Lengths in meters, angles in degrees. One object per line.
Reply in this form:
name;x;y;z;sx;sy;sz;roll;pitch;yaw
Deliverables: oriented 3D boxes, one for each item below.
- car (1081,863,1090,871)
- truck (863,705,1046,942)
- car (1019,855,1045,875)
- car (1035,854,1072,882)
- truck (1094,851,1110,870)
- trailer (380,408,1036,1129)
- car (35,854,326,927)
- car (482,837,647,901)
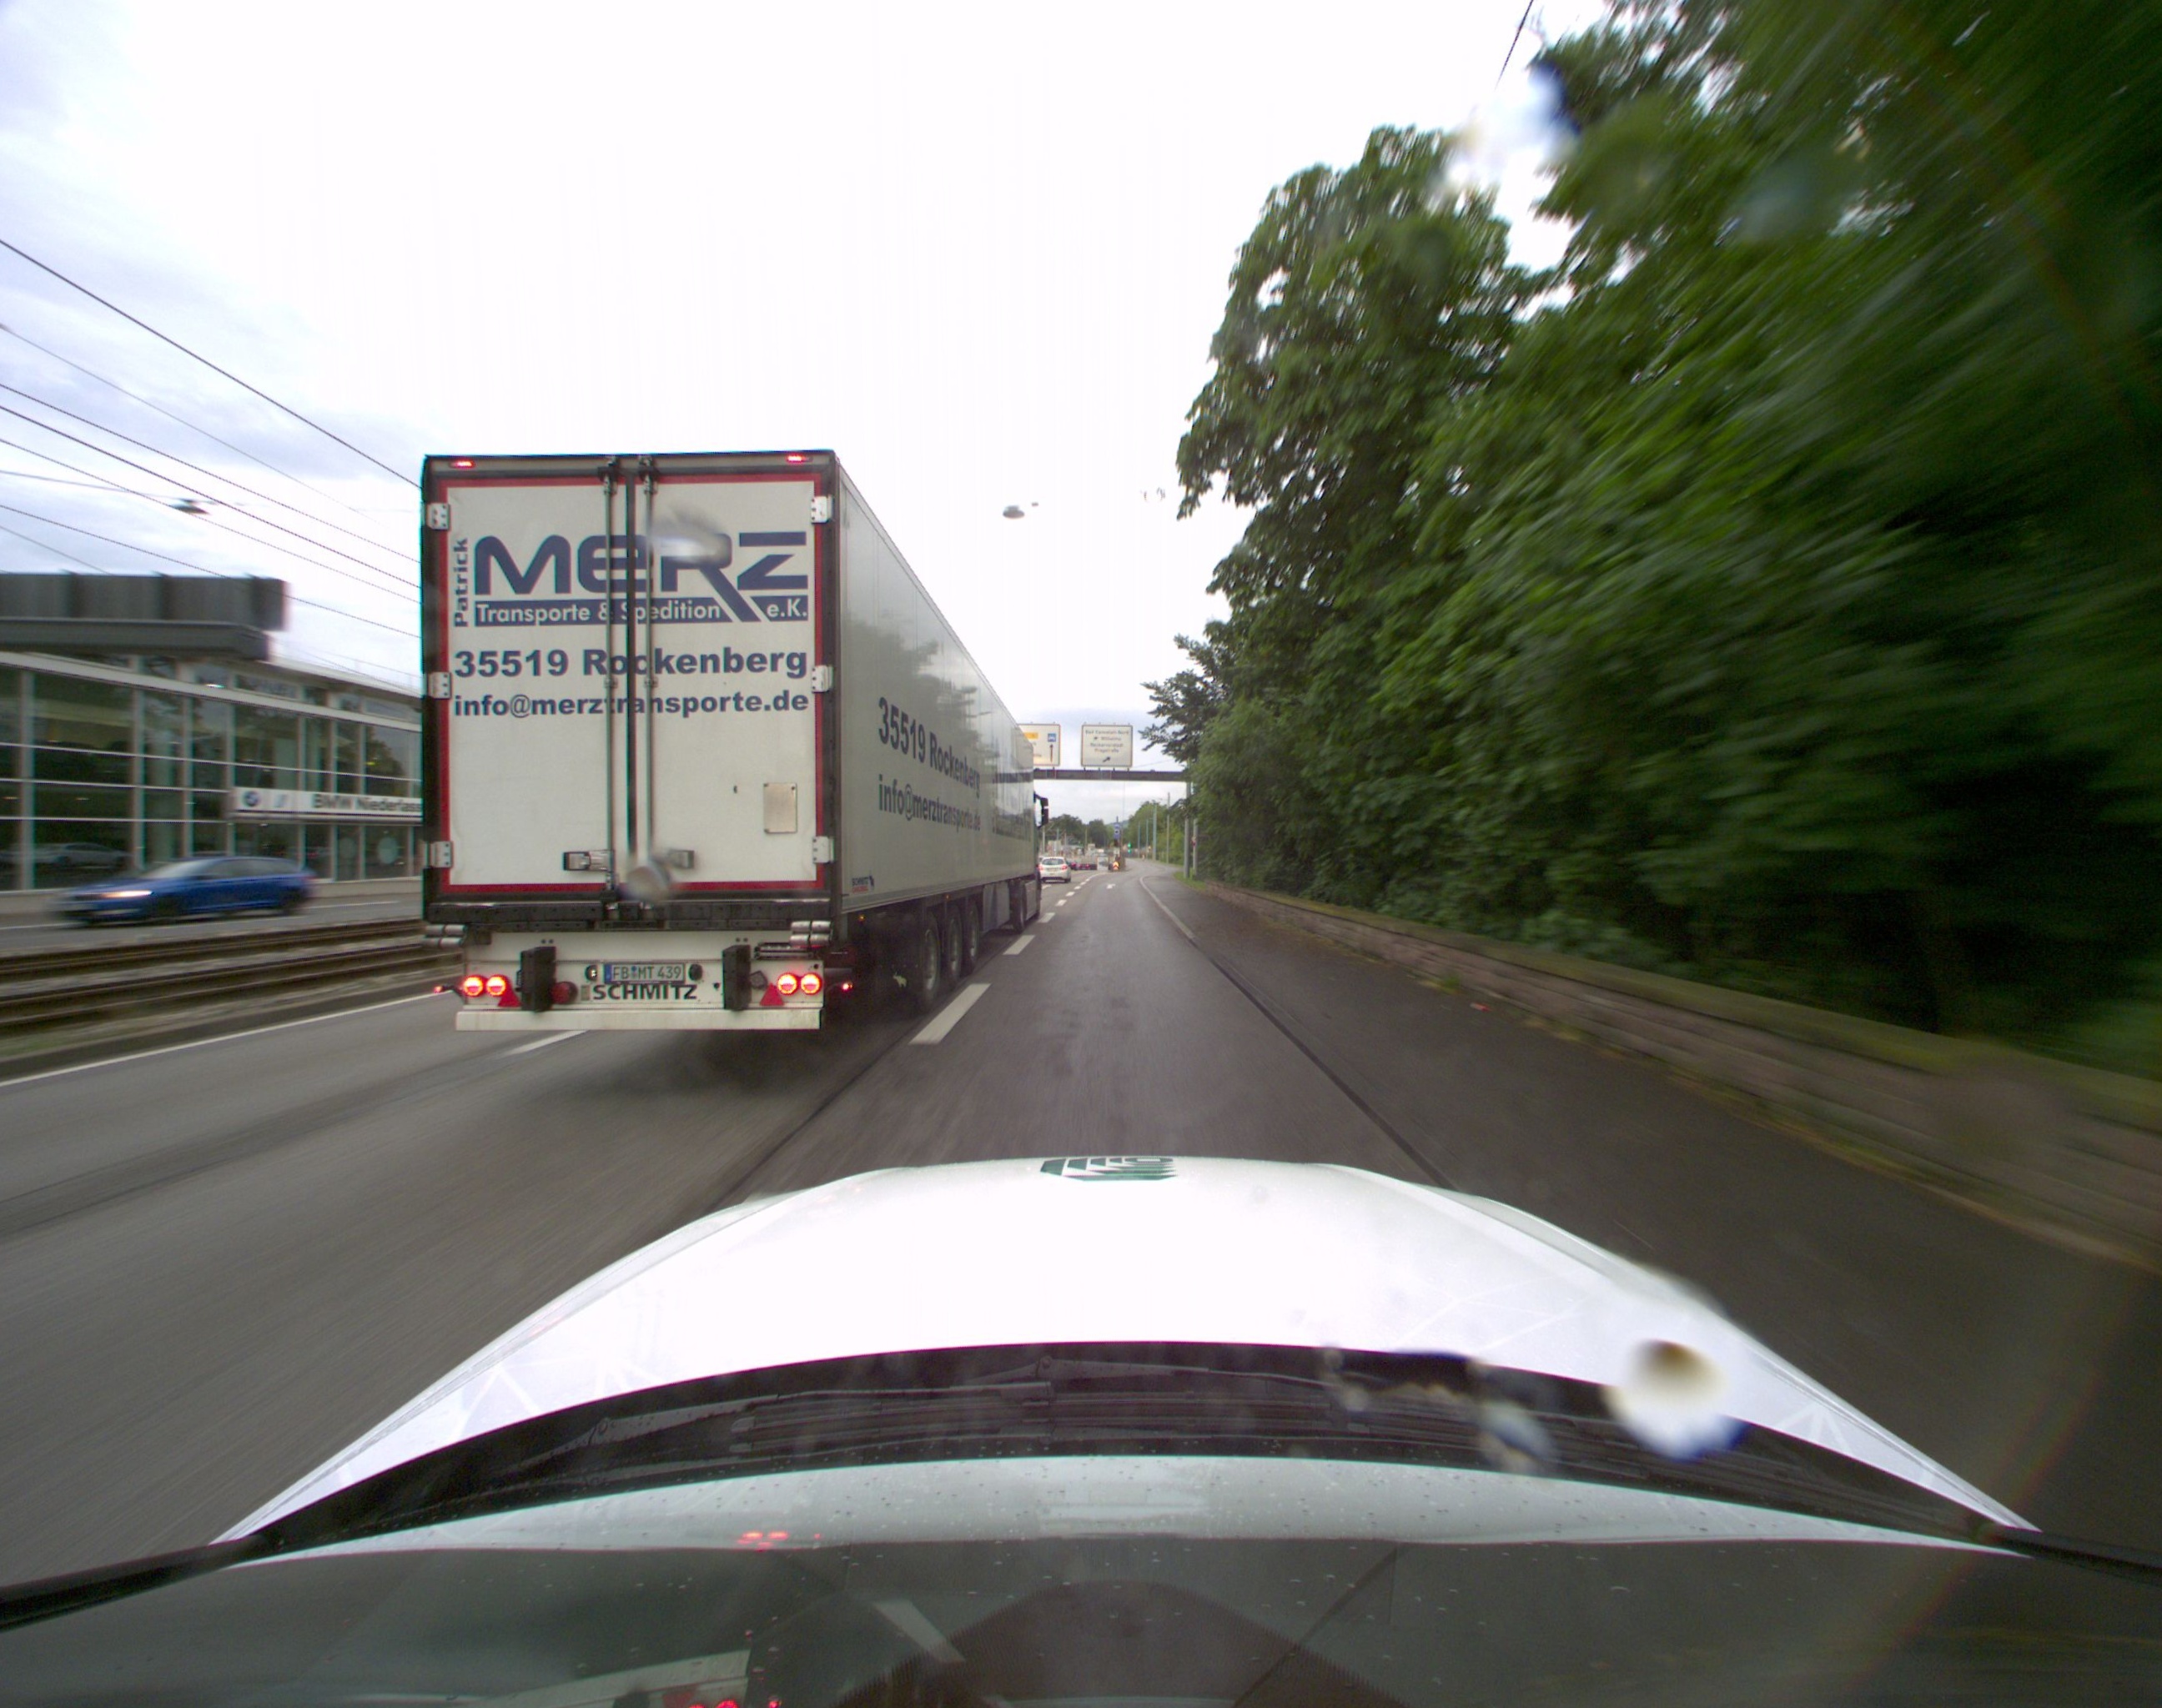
car;0.742;2.243;138.315;1.421;1.354;2.961;0;0;1
truck;-2.405;-0.554;17.715;2.746;4.205;6.309;-1;0;2
car;-3.846;0.833;64.002;1.675;1.446;4.002;0;2;2
car;-1.520;0.778;46.197;1.803;1.423;4.002;0;2;1
truck;4.726;1.499;179.590;3.505;4.040;8.077;0;-1;2
trailer;-2.597;-0.522;11.444;2.752;4.252;13.188;-1;0;2
car;-19.808;0.721;18.254;1.600;1.433;4.333;0;0;2
car;-16.647;0.444;26.650;1.986;1.874;5.194;0;0;1
